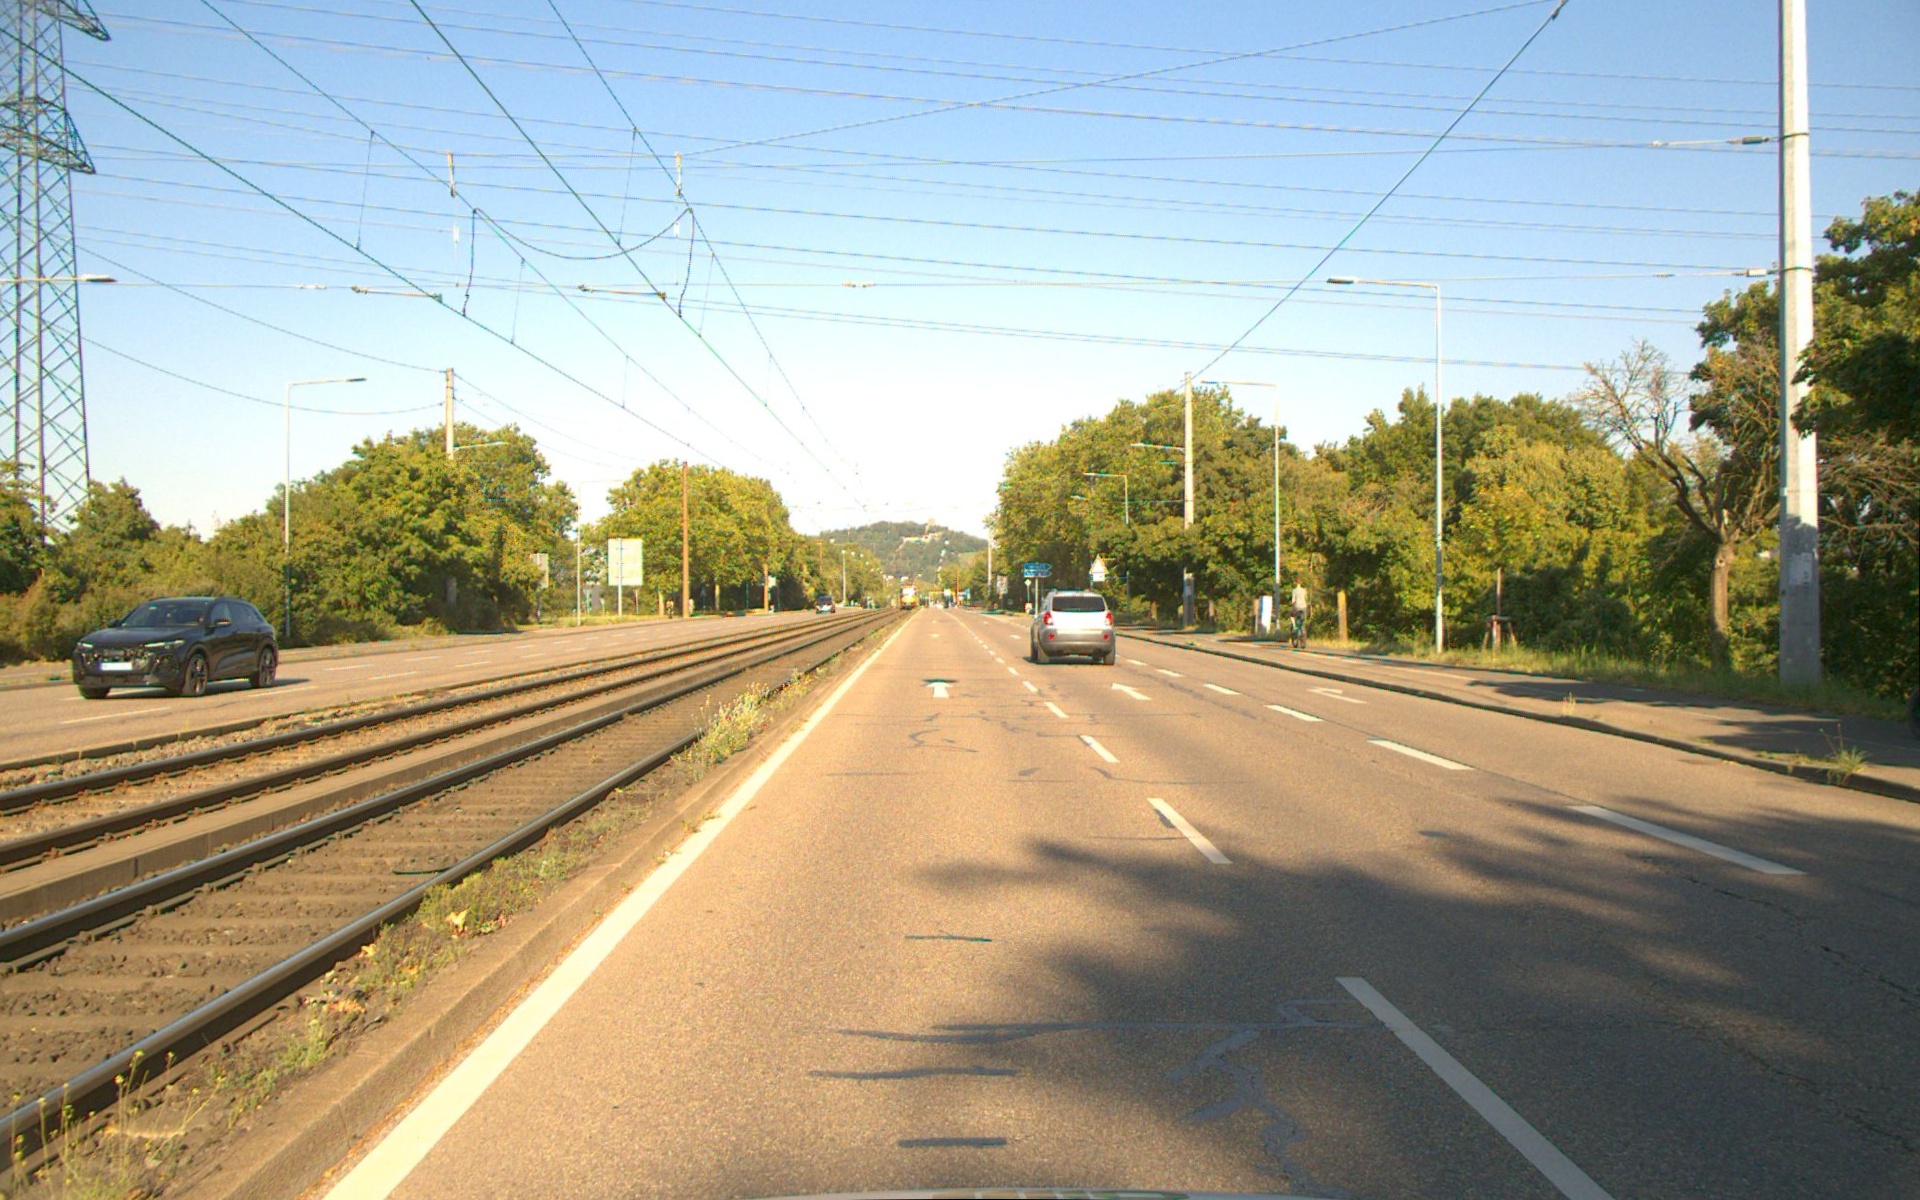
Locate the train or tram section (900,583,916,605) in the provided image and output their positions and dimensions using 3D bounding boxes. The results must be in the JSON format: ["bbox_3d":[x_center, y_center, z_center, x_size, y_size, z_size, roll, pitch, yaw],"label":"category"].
[{"bbox_3d":[-7.961,-0.879,252.987,2.264,3.273,9.472,2,-1,-1],"label":"train or tram section"}]

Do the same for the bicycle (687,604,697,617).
[{"bbox_3d":[-22.502,0.871,138.912,0.578,1.040,2.185,0,-1,-2],"label":"bicycle"}]

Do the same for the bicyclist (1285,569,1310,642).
[{"bbox_3d":[9.590,0.164,47.002,0.516,2.052,0.729,2,-1,0],"label":"bicyclist"}]

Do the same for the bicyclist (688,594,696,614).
[{"bbox_3d":[-22.493,0.359,138.852,0.578,1.639,0.967,0,-1,-2],"label":"bicyclist"}]

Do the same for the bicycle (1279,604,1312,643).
[{"bbox_3d":[9.573,0.662,47.244,0.516,1.079,1.971,2,-1,0],"label":"bicycle"}]

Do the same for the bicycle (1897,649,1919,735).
[{"bbox_3d":[9.925,0.908,16.099,0.614,0.848,1.634,-3,-1,-1],"label":"bicycle"}]

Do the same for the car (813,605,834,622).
[{"bbox_3d":[-15.649,1.539,189.230,1.952,1.956,4.860,0,-1,0],"label":"car"}]

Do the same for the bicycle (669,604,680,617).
[{"bbox_3d":[-23.574,0.869,136.465,0.578,1.040,2.185,0,-1,-2],"label":"bicycle"}]

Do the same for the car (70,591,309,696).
[{"bbox_3d":[-13.318,0.722,28.955,1.952,1.653,4.683,-1,-1,0],"label":"car"}]

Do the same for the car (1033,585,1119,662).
[{"bbox_3d":[2.732,0.558,39.883,1.849,1.723,4.257,1,-1,1],"label":"car"}]

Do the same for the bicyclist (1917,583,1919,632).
[{"bbox_3d":[9.911,0.557,15.987,0.614,1.497,1.060,-3,-1,-1],"label":"bicyclist"}]

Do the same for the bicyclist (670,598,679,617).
[{"bbox_3d":[-23.571,0.599,136.620,0.578,1.555,0.906,0,-1,-2],"label":"bicyclist"}]
